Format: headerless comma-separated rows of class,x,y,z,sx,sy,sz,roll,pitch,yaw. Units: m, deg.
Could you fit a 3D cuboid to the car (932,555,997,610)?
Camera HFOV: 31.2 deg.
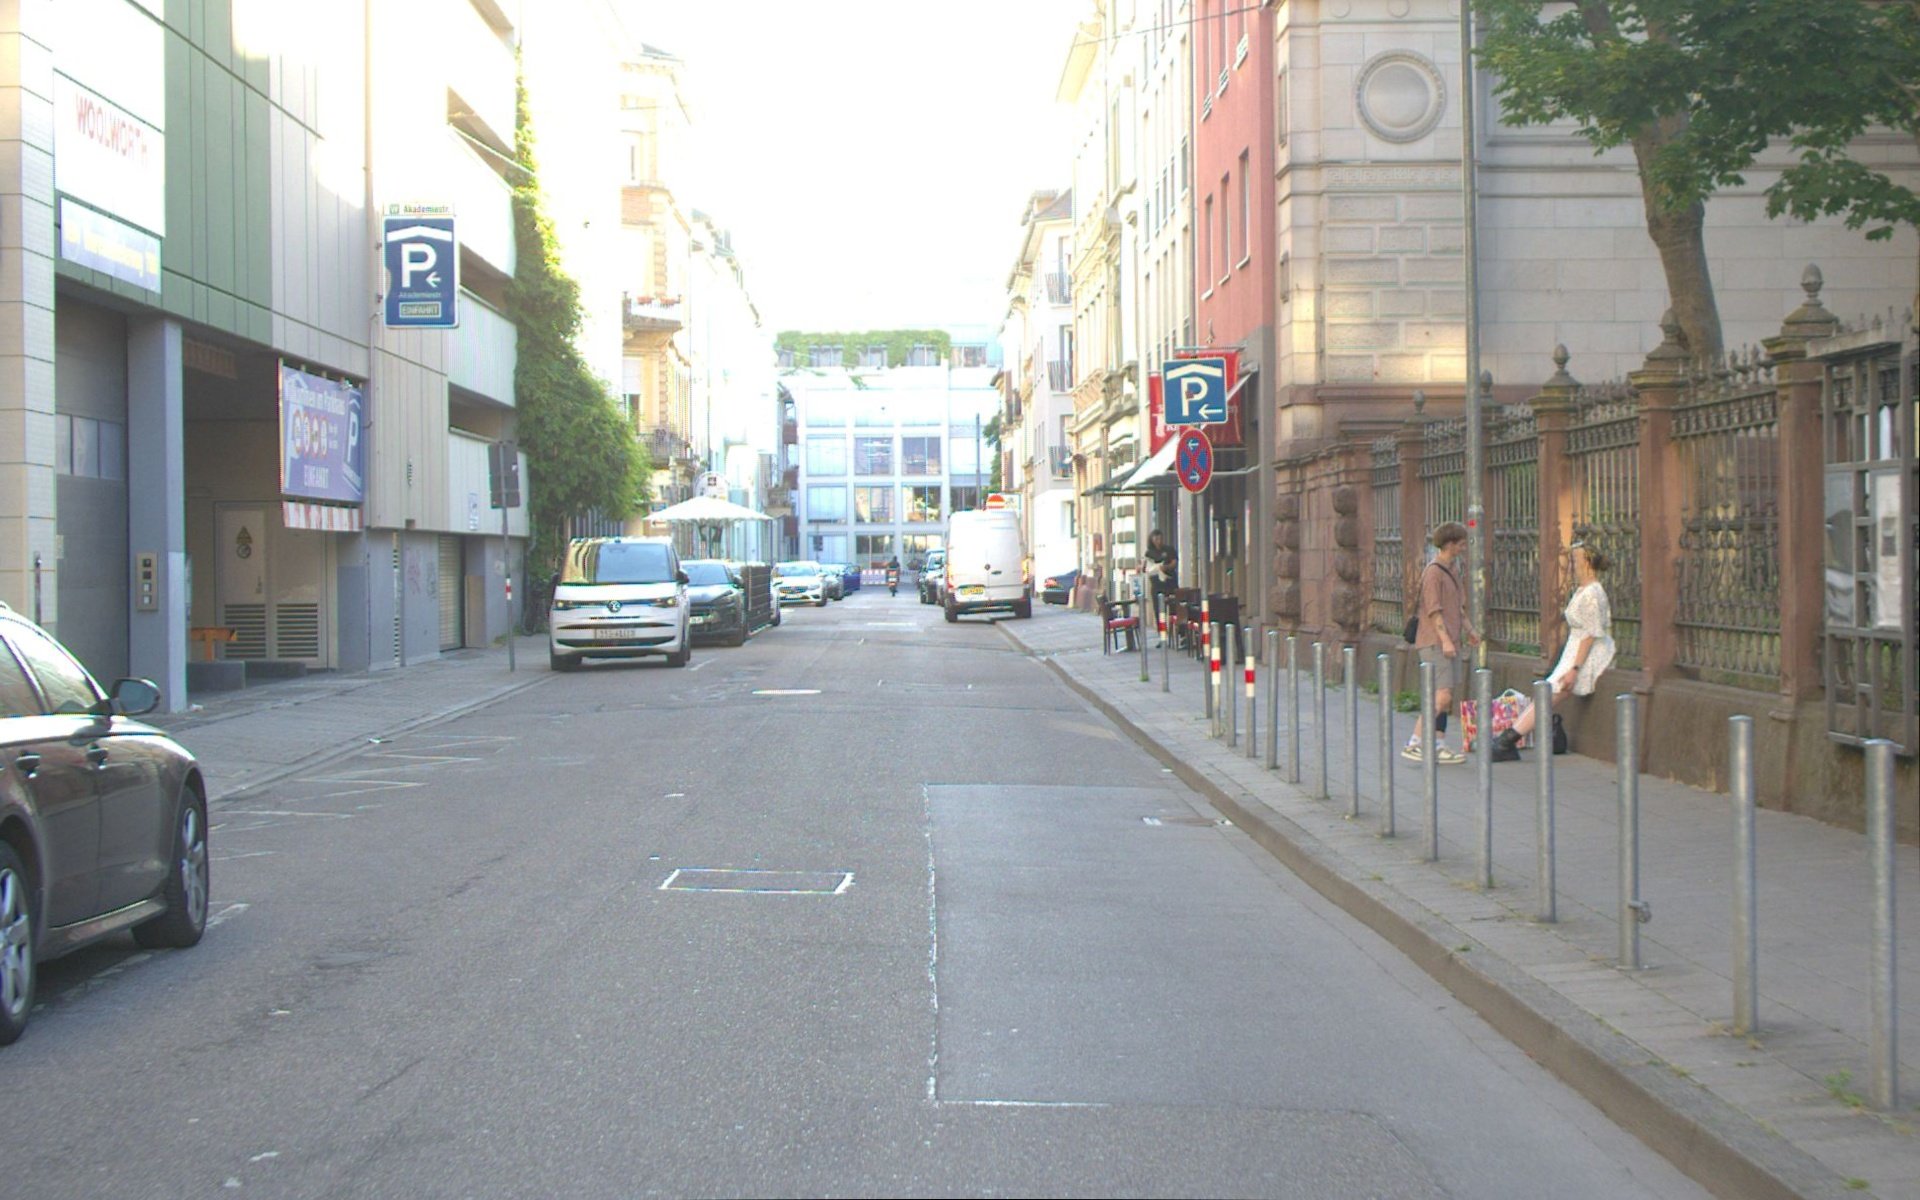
car,0.127,-0.543,108.486,1.993,1.678,4.000,0,0,-1

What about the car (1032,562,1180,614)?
car,4.004,-0.315,94.509,3.987,1.415,1.656,0,0,0

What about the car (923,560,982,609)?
car,-0.281,-0.544,120.328,1.993,1.678,4.000,0,0,-1

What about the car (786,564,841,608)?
car,-5.639,-0.544,132.472,1.993,1.678,4.000,0,0,-1

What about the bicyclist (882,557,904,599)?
bicyclist,-3.008,-0.985,155.199,0.990,1.862,0.708,0,0,-1

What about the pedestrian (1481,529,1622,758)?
pedestrian,3.981,0.284,23.185,0.749,1.494,0.619,-2,1,-6

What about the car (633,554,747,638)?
car,-4.807,-0.089,61.644,1.883,1.448,4.000,0,1,-2

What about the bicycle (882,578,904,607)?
bicycle,-3.016,-0.336,155.307,0.975,1.276,2.754,0,0,-1

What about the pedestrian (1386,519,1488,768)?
pedestrian,3.232,0.286,23.321,0.484,1.652,0.619,-2,1,-8

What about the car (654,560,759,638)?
car,-4.876,-0.037,66.576,1.883,1.448,4.000,0,1,-2

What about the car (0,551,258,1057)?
car,-3.938,0.628,12.115,1.883,1.592,4.689,0,1,1

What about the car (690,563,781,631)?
car,-4.905,-0.083,75.437,1.883,1.448,4.000,0,1,-2

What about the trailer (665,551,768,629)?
trailer,-5.001,-0.205,70.926,1.993,1.552,4.000,0,0,-2

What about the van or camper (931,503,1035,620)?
van or camper,0.515,-0.922,83.914,2.258,2.598,5.112,-4,0,-1

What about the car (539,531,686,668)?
car,-5.043,-0.042,50.446,1.883,1.905,4.748,0,1,-3

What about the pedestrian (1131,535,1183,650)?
pedestrian,2.902,-0.114,50.737,0.662,1.660,0.624,-2,1,-1

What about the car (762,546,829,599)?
car,-5.241,-0.869,109.841,1.993,1.678,4.000,0,0,-1
